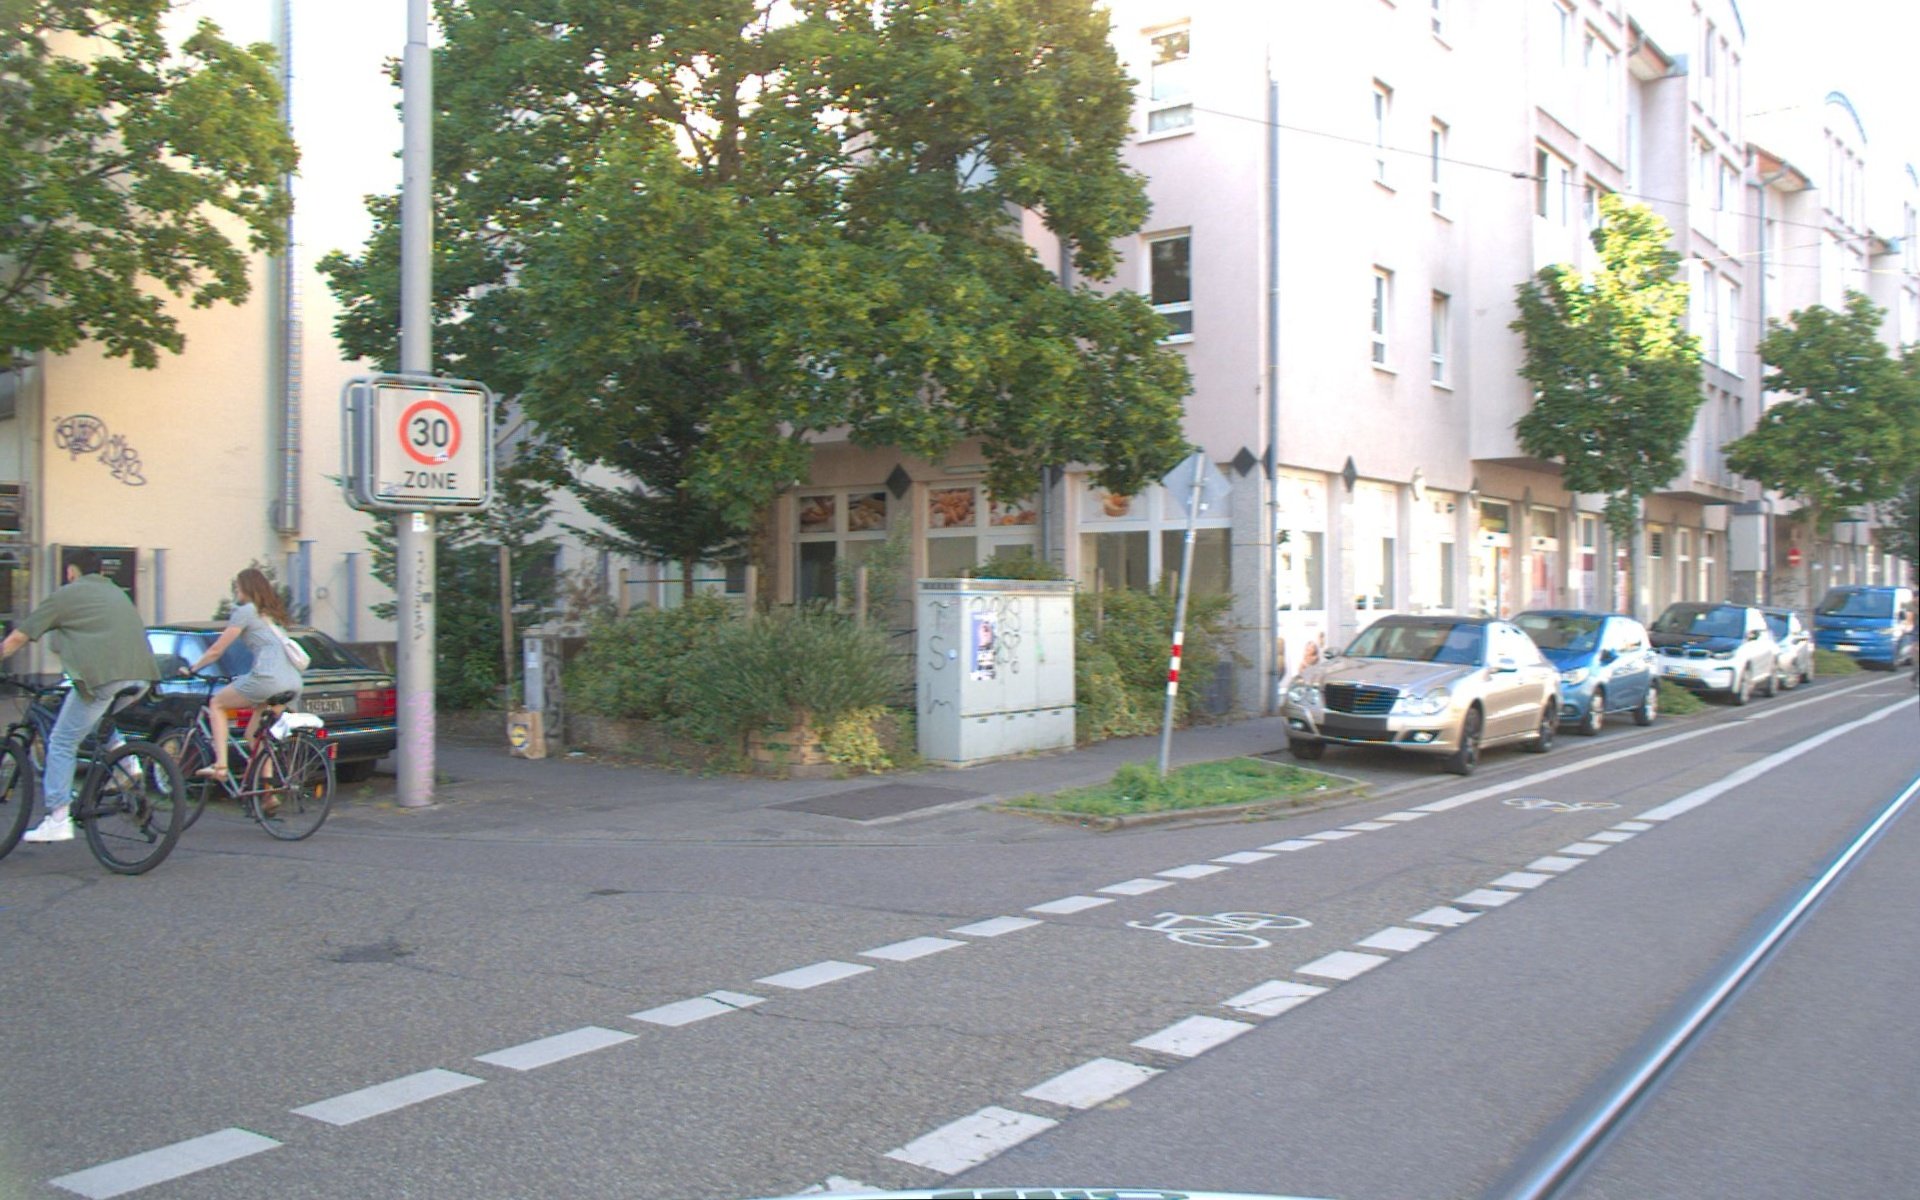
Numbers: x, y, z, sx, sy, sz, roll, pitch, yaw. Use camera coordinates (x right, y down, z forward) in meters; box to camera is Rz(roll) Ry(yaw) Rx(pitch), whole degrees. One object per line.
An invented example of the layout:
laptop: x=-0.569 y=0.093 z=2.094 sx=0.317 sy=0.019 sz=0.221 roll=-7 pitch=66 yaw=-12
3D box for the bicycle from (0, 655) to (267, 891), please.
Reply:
bicycle: x=-5.186 y=0.946 z=9.568 sx=2.179 sy=1.169 sz=0.842 roll=1 pitch=1 yaw=20

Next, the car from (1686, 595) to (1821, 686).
car: x=15.414 y=0.727 z=32.036 sx=1.798 sy=1.621 sz=3.987 roll=-1 pitch=0 yaw=34

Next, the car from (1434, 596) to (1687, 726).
car: x=7.972 y=0.754 z=21.766 sx=1.802 sy=1.516 sz=3.978 roll=-3 pitch=-1 yaw=41

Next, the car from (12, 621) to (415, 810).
car: x=-6.713 y=0.900 z=14.628 sx=4.491 sy=1.412 sz=1.703 roll=-1 pitch=-1 yaw=43

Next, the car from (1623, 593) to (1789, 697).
car: x=12.778 y=0.706 z=28.213 sx=1.799 sy=1.621 sz=3.984 roll=-1 pitch=0 yaw=36

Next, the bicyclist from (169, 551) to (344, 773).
bicyclist: x=-4.745 y=0.423 z=11.161 sx=0.848 sy=1.404 sz=0.624 roll=-5 pitch=-3 yaw=25

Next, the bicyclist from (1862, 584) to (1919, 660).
bicyclist: x=17.284 y=0.396 z=30.392 sx=1.162 sy=1.354 sz=1.092 roll=-1 pitch=0 yaw=33

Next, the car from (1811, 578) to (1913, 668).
car: x=21.532 y=0.510 z=39.417 sx=1.637 sy=2.021 sz=4.327 roll=0 pitch=0 yaw=35

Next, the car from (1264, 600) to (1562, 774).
car: x=4.711 y=0.772 z=16.817 sx=1.714 sy=1.468 sz=3.987 roll=2 pitch=1 yaw=34

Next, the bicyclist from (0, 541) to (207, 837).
bicyclist: x=-5.017 y=0.504 z=9.488 sx=0.847 sy=1.589 sz=0.884 roll=-4 pitch=-2 yaw=21

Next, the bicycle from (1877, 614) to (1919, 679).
bicycle: x=17.342 y=0.846 z=30.469 sx=0.611 sy=1.121 sz=1.954 roll=-3 pitch=-1 yaw=33

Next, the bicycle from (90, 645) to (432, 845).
bicycle: x=-4.692 y=0.980 z=11.073 sx=2.181 sy=1.169 sz=0.841 roll=-6 pitch=-5 yaw=24
